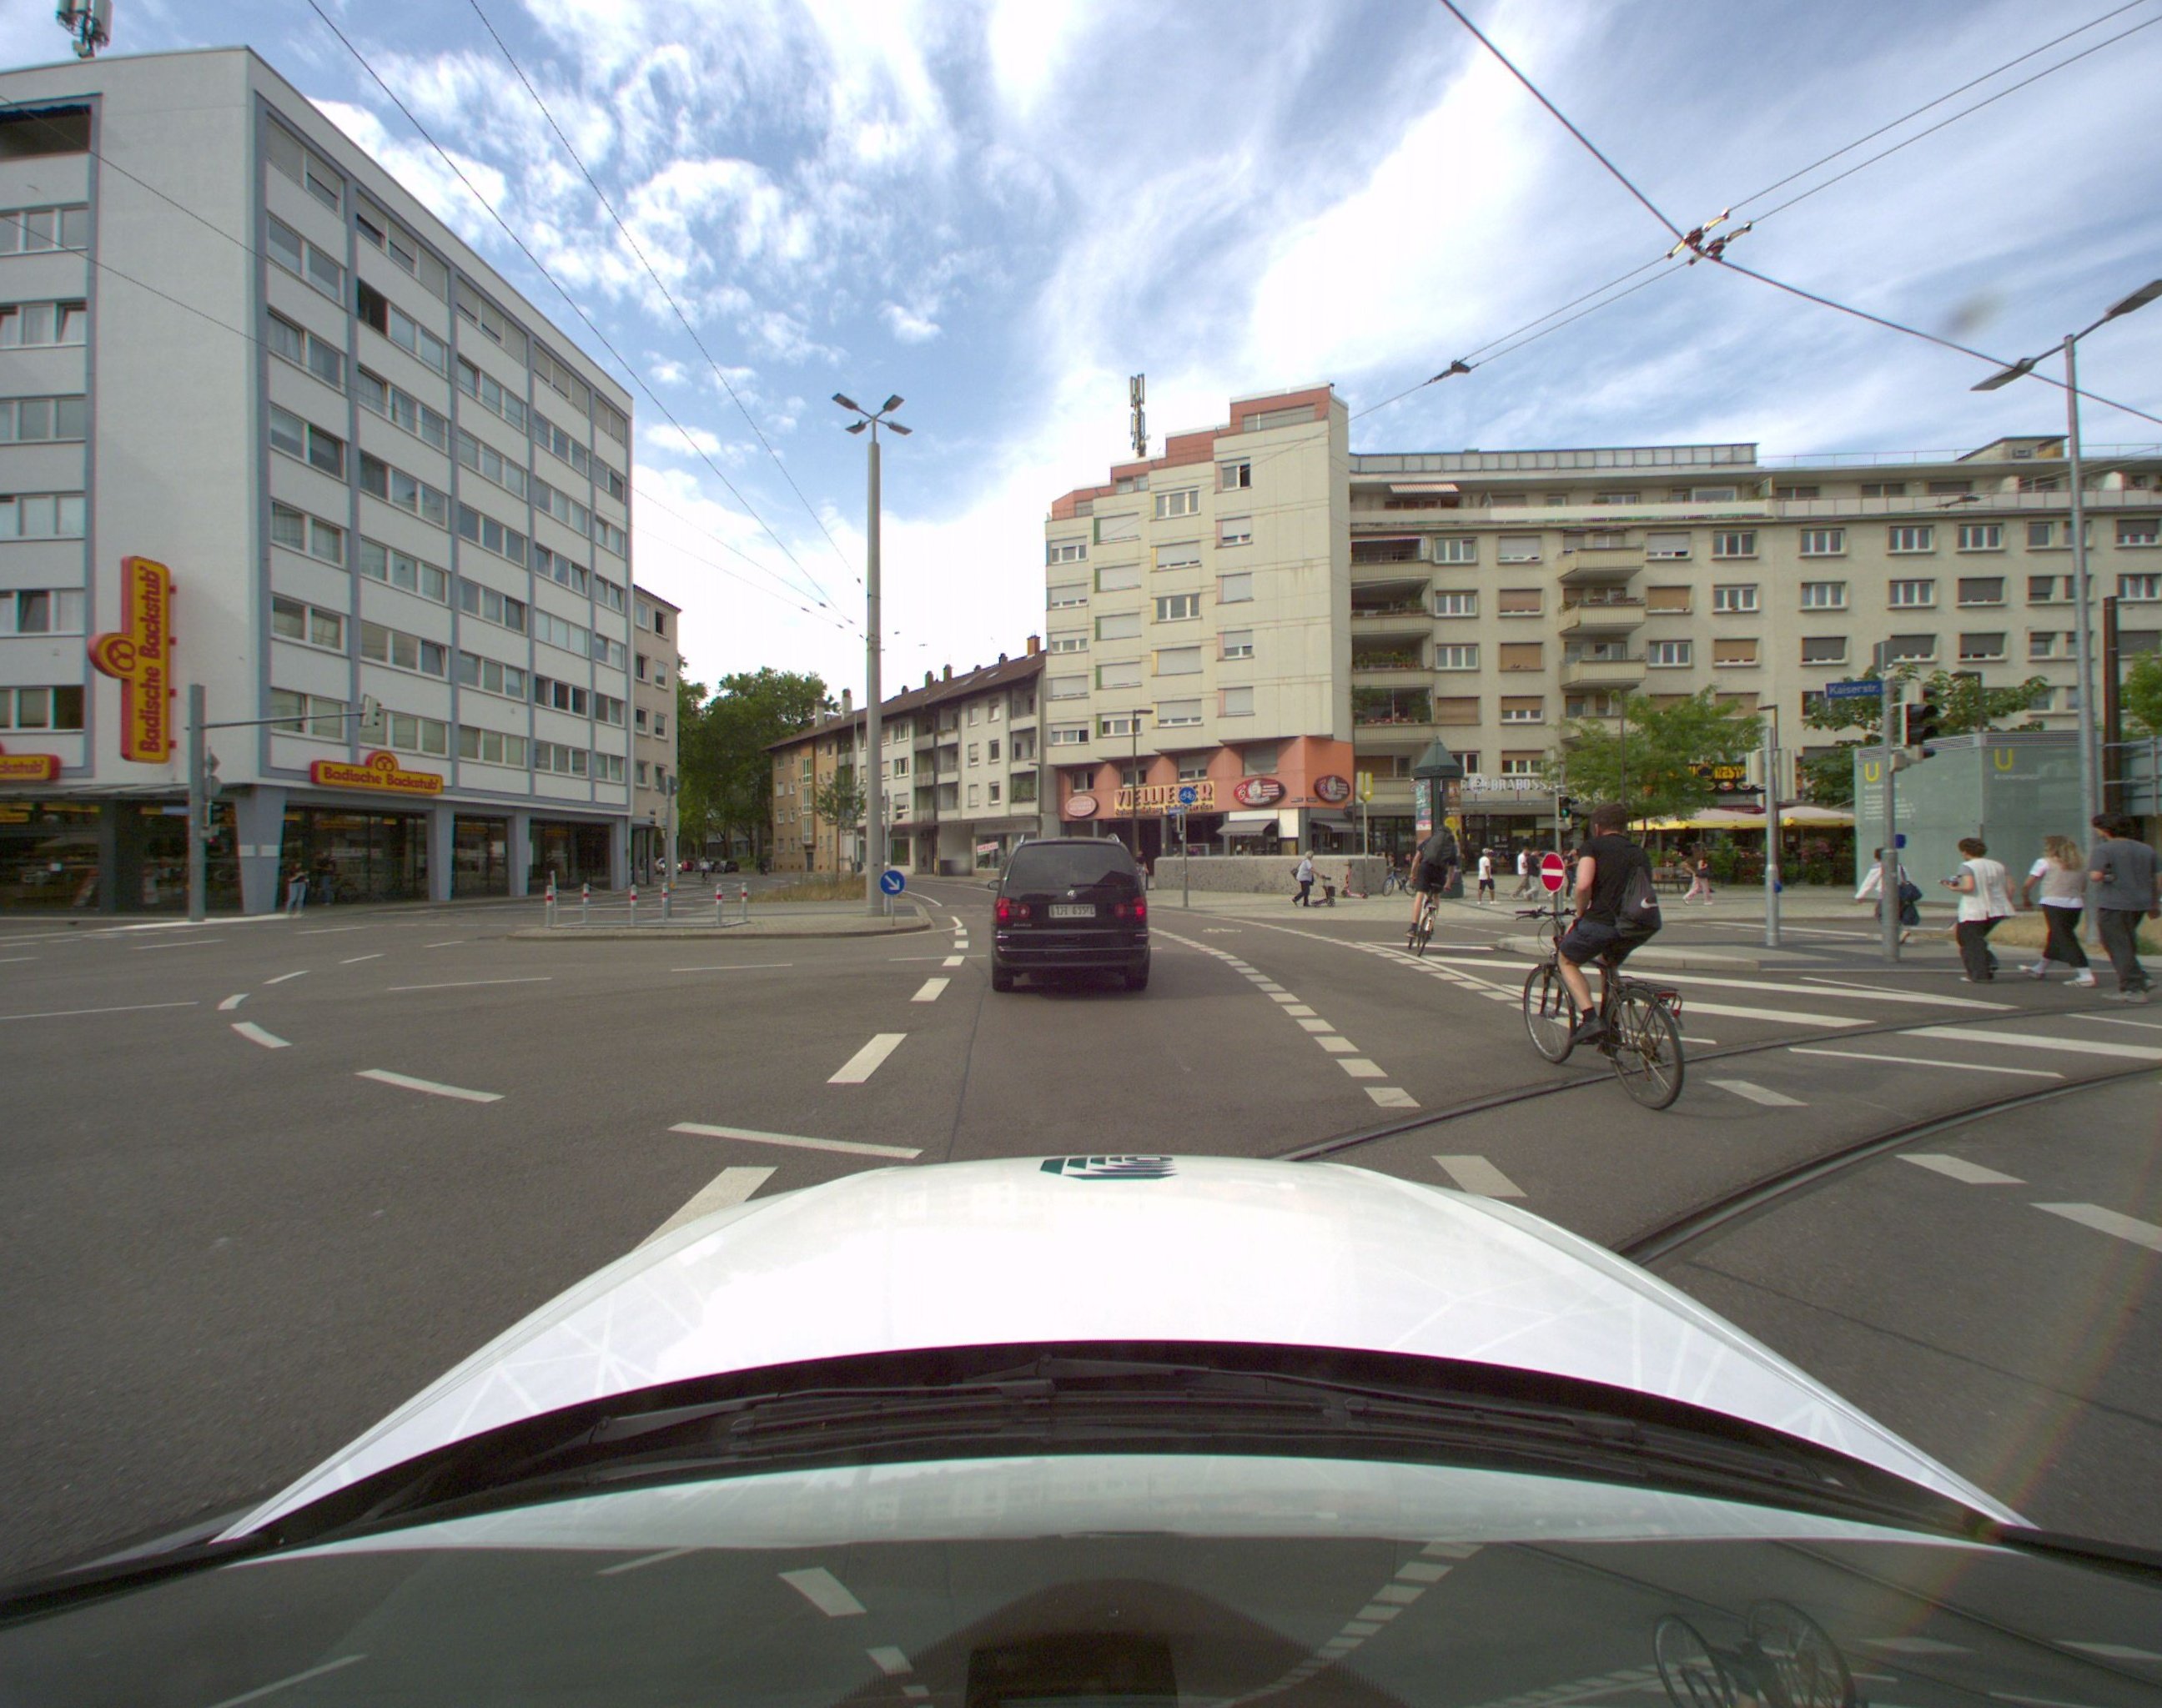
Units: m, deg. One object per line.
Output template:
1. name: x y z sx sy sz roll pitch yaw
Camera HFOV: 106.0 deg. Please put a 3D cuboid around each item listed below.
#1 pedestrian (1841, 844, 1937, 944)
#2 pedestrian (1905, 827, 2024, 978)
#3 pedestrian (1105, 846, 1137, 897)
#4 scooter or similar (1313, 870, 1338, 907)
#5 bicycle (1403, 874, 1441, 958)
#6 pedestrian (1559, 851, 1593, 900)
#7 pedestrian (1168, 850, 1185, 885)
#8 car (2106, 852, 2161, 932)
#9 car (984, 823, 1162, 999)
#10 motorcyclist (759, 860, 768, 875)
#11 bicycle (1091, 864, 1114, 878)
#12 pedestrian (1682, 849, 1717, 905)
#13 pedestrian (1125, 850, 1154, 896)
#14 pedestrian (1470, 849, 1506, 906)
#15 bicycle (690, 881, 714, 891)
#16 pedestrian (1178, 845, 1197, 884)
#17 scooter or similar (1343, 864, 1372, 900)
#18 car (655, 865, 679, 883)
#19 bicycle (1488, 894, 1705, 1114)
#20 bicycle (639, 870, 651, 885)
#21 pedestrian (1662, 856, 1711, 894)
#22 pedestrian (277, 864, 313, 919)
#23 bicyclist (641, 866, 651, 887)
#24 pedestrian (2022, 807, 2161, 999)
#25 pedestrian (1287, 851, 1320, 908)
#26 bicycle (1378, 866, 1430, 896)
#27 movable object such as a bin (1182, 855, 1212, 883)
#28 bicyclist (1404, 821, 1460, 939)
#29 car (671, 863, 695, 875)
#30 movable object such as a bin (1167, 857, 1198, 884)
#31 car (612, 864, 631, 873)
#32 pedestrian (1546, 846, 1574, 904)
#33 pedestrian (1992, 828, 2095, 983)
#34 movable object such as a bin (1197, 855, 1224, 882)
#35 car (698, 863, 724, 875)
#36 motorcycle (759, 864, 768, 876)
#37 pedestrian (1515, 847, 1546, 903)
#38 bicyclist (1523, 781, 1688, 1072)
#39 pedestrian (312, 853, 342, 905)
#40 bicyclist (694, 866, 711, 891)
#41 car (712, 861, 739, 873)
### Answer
1. pedestrian: 12.651 0.623 12.777 0.551 1.501 0.843 0 -3 -12
2. pedestrian: 10.318 0.549 9.537 0.467 1.686 0.795 0 -1 -1
3. pedestrian: 1.601 0.697 32.857 1.001 1.971 0.725 -1 1 43
4. scooter or similar: 7.543 1.053 25.145 0.694 1.110 0.611 -2 -1 16
5. bicycle: 5.164 0.892 12.393 0.387 1.122 1.929 -1 0 18
6. pedestrian: 16.036 0.697 26.404 0.815 1.576 0.415 -1 -1 5
7. pedestrian: 4.696 0.660 40.090 0.476 1.672 0.583 -3 1 -41
8. car: 22.889 0.688 15.279 4.568 1.512 2.002 -1 -1 4
9. car: -0.267 0.582 10.179 1.810 1.766 3.730 -1 0 -6
10. motorcyclist: -28.120 1.200 72.097 0.528 1.312 0.669 0 -1 -40
11. bicycle: 1.393 1.102 52.585 0.456 0.896 1.658 0 -1 -42
12. pedestrian: 18.583 0.687 24.477 0.673 1.641 0.440 0 -1 3
13. pedestrian: 2.394 0.772 33.249 0.875 1.799 0.680 -1 1 43
14. pedestrian: 12.332 0.712 24.691 0.799 1.680 0.627 -1 -1 5
15. bicycle: -24.975 2.111 53.682 0.481 0.588 2.001 -1 -1 7
16. pedestrian: 5.329 0.508 40.802 0.678 1.903 0.583 -3 1 -41
17. scooter or similar: 9.484 0.952 27.981 0.286 1.212 1.118 0 -1 -19
18. car: -41.253 1.968 81.123 1.844 1.660 4.281 0 -1 -31
19. bicycle: 3.356 0.878 5.522 0.403 1.122 2.021 0 0 7
20. bicycle: -35.532 1.933 66.405 0.516 1.225 1.545 1 -2 -41
21. pedestrian: 20.922 0.727 28.179 1.026 1.245 0.936 1 -1 6
22. pedestrian: -22.984 1.089 23.819 0.497 1.559 0.518 0 -1 -1
23. bicyclist: -35.527 1.833 66.468 0.542 1.743 0.749 1 -2 -42
24. pedestrian: 10.450 0.480 8.325 0.636 1.854 0.878 0 -1 3
25. pedestrian: 6.918 0.799 25.325 0.927 1.740 0.688 -1 -1 17
26. bicycle: 11.560 0.962 29.100 2.460 1.013 0.538 0 -1 -38
27. movable object such as a bin: 6.523 0.849 45.776 1.204 1.516 1.182 0 -1 -43
28. bicyclist: 5.300 0.387 12.329 0.691 1.709 0.912 -1 -1 19
29. car: -51.014 1.930 104.364 1.690 1.394 4.407 1 -2 -42
30. movable object such as a bin: 5.588 0.906 44.950 1.155 1.460 1.209 0 -1 -43
31. car: -73.638 2.336 130.396 1.690 1.394 4.407 1 -2 -42
32. pedestrian: 14.637 0.636 24.914 0.590 1.737 0.415 0 -1 3
33. pedestrian: 11.100 0.568 9.416 0.627 1.695 0.711 -1 -1 40
34. movable object such as a bin: 7.409 0.816 46.586 1.011 1.516 1.153 1 -1 -43
35. car: -44.198 1.744 97.280 1.672 1.422 3.899 0 -1 -42
36. motorcycle: -28.146 1.417 72.126 0.341 1.007 1.251 0 -1 -40
37. pedestrian: 14.090 0.644 25.535 0.696 1.737 0.415 0 -1 3
38. bicyclist: 3.340 0.432 5.259 0.555 1.709 0.864 -1 -1 7
39. pedestrian: -25.778 0.841 27.855 0.474 1.765 0.590 0 -1 3
40. bicyclist: -24.897 1.606 53.576 0.605 1.646 1.039 -1 -1 6
41. car: -40.956 1.494 93.772 1.672 1.422 3.820 0 -1 -42
